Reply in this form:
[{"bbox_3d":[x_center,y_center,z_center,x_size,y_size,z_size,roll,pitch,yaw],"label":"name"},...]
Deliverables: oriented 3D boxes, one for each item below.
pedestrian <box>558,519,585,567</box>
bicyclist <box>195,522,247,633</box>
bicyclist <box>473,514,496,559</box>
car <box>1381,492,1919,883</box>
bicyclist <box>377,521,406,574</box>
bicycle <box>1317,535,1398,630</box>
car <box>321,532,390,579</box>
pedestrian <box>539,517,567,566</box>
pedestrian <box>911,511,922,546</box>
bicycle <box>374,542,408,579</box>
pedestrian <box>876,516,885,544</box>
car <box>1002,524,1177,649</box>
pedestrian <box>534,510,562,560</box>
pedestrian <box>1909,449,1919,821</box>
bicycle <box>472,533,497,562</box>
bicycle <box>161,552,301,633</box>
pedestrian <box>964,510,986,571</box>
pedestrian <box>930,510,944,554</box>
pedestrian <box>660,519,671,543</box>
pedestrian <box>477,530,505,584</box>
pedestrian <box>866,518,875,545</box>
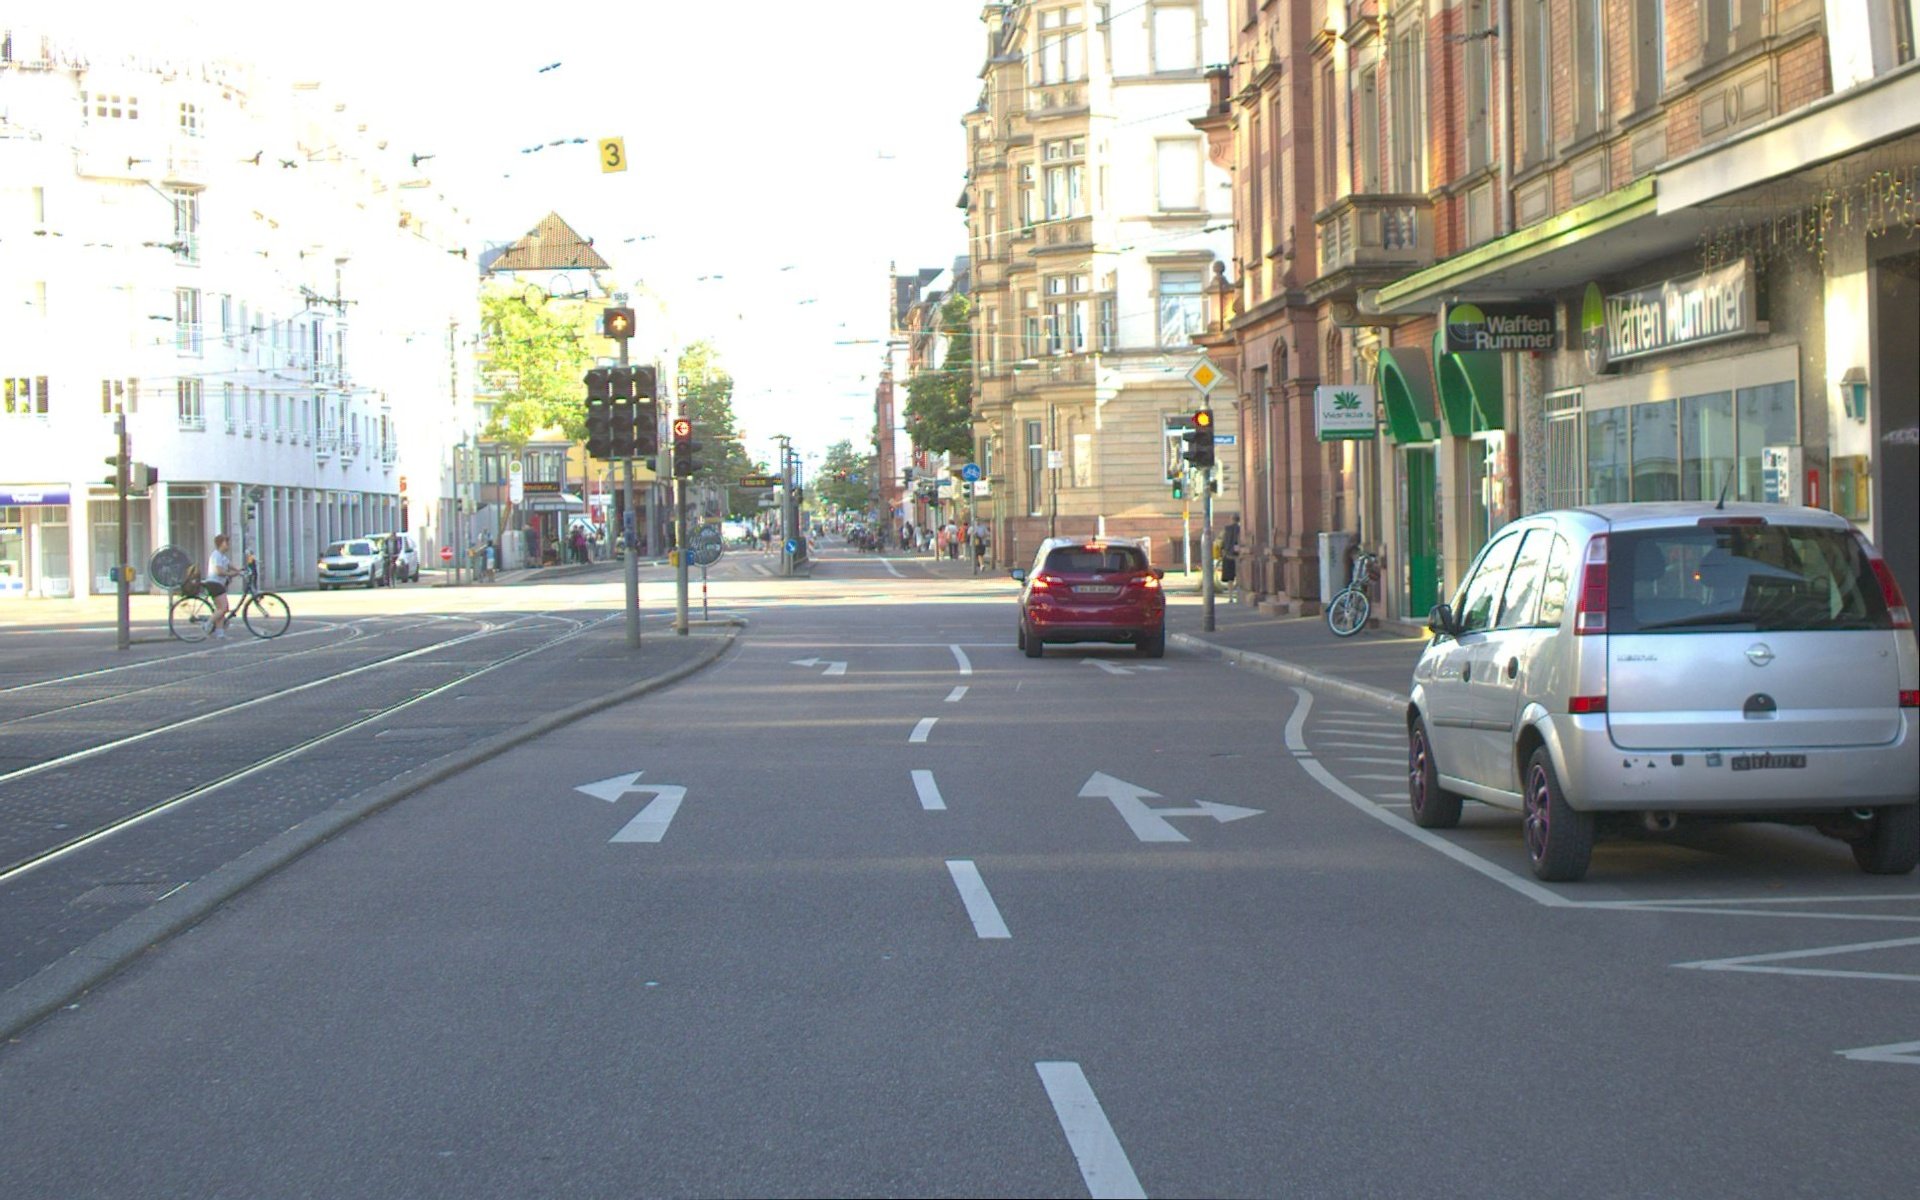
[{"bbox_3d":[-16.232,-2.381,143.811,1.045,2.007,0.959,-1,1,-4],"label":"pedestrian"},{"bbox_3d":[-10.913,-0.339,50.782,0.729,1.621,0.766,-1,1,-12],"label":"bicyclist"},{"bbox_3d":[-19.678,-2.634,142.182,0.807,1.815,0.993,-1,1,-2],"label":"bicyclist"},{"bbox_3d":[3.161,0.321,16.177,1.637,1.609,3.946,0,1,-4],"label":"car"},{"bbox_3d":[-18.593,-1.722,112.495,0.807,1.720,0.794,-1,1,-1],"label":"bicyclist"},{"bbox_3d":[5.098,-0.235,44.034,0.716,1.148,1.654,-2,1,17],"label":"bicycle"},{"bbox_3d":[-20.576,-1.521,117.106,1.765,1.540,3.461,-1,1,-1],"label":"car"},{"bbox_3d":[-16.799,-2.427,141.855,1.045,2.007,0.959,-1,1,-4],"label":"pedestrian"},{"bbox_3d":[-2.495,-4.110,198.383,0.577,2.007,0.631,-1,1,-1],"label":"pedestrian"},{"bbox_3d":[-18.579,-1.296,112.311,0.807,1.143,2.050,-1,1,-2],"label":"bicycle"},{"bbox_3d":[-5.407,-4.736,232.866,0.577,1.880,0.631,-1,1,-1],"label":"pedestrian"},{"bbox_3d":[1.555,-0.200,42.625,1.754,1.461,3.946,0,1,-4],"label":"car"},{"bbox_3d":[-16.485,-2.607,137.551,0.956,2.007,1.049,-1,1,-2],"label":"pedestrian"},{"bbox_3d":[5.090,0.167,16.035,0.946,1.786,1.055,-2,1,-3],"label":"pedestrian"},{"bbox_3d":[-19.678,-2.175,142.275,0.807,1.143,2.010,-1,1,-2],"label":"bicycle"},{"bbox_3d":[-10.851,-0.114,51.195,2.017,1.173,0.628,-1,1,-12],"label":"bicycle"},{"bbox_3d":[0.498,-2.001,115.578,0.651,2.007,0.760,-1,1,-3],"label":"pedestrian"},{"bbox_3d":[-1.055,-3.092,156.077,0.577,2.007,0.631,-1,1,4],"label":"pedestrian"},{"bbox_3d":[-20.046,-4.687,233.906,0.628,1.599,0.579,-1,1,-18],"label":"pedestrian"},{"bbox_3d":[-14.997,-1.379,109.946,0.768,1.724,0.573,-1,1,0],"label":"pedestrian"},{"bbox_3d":[-6.276,-4.812,240.910,0.577,1.880,0.669,-1,1,-2],"label":"pedestrian"}]
